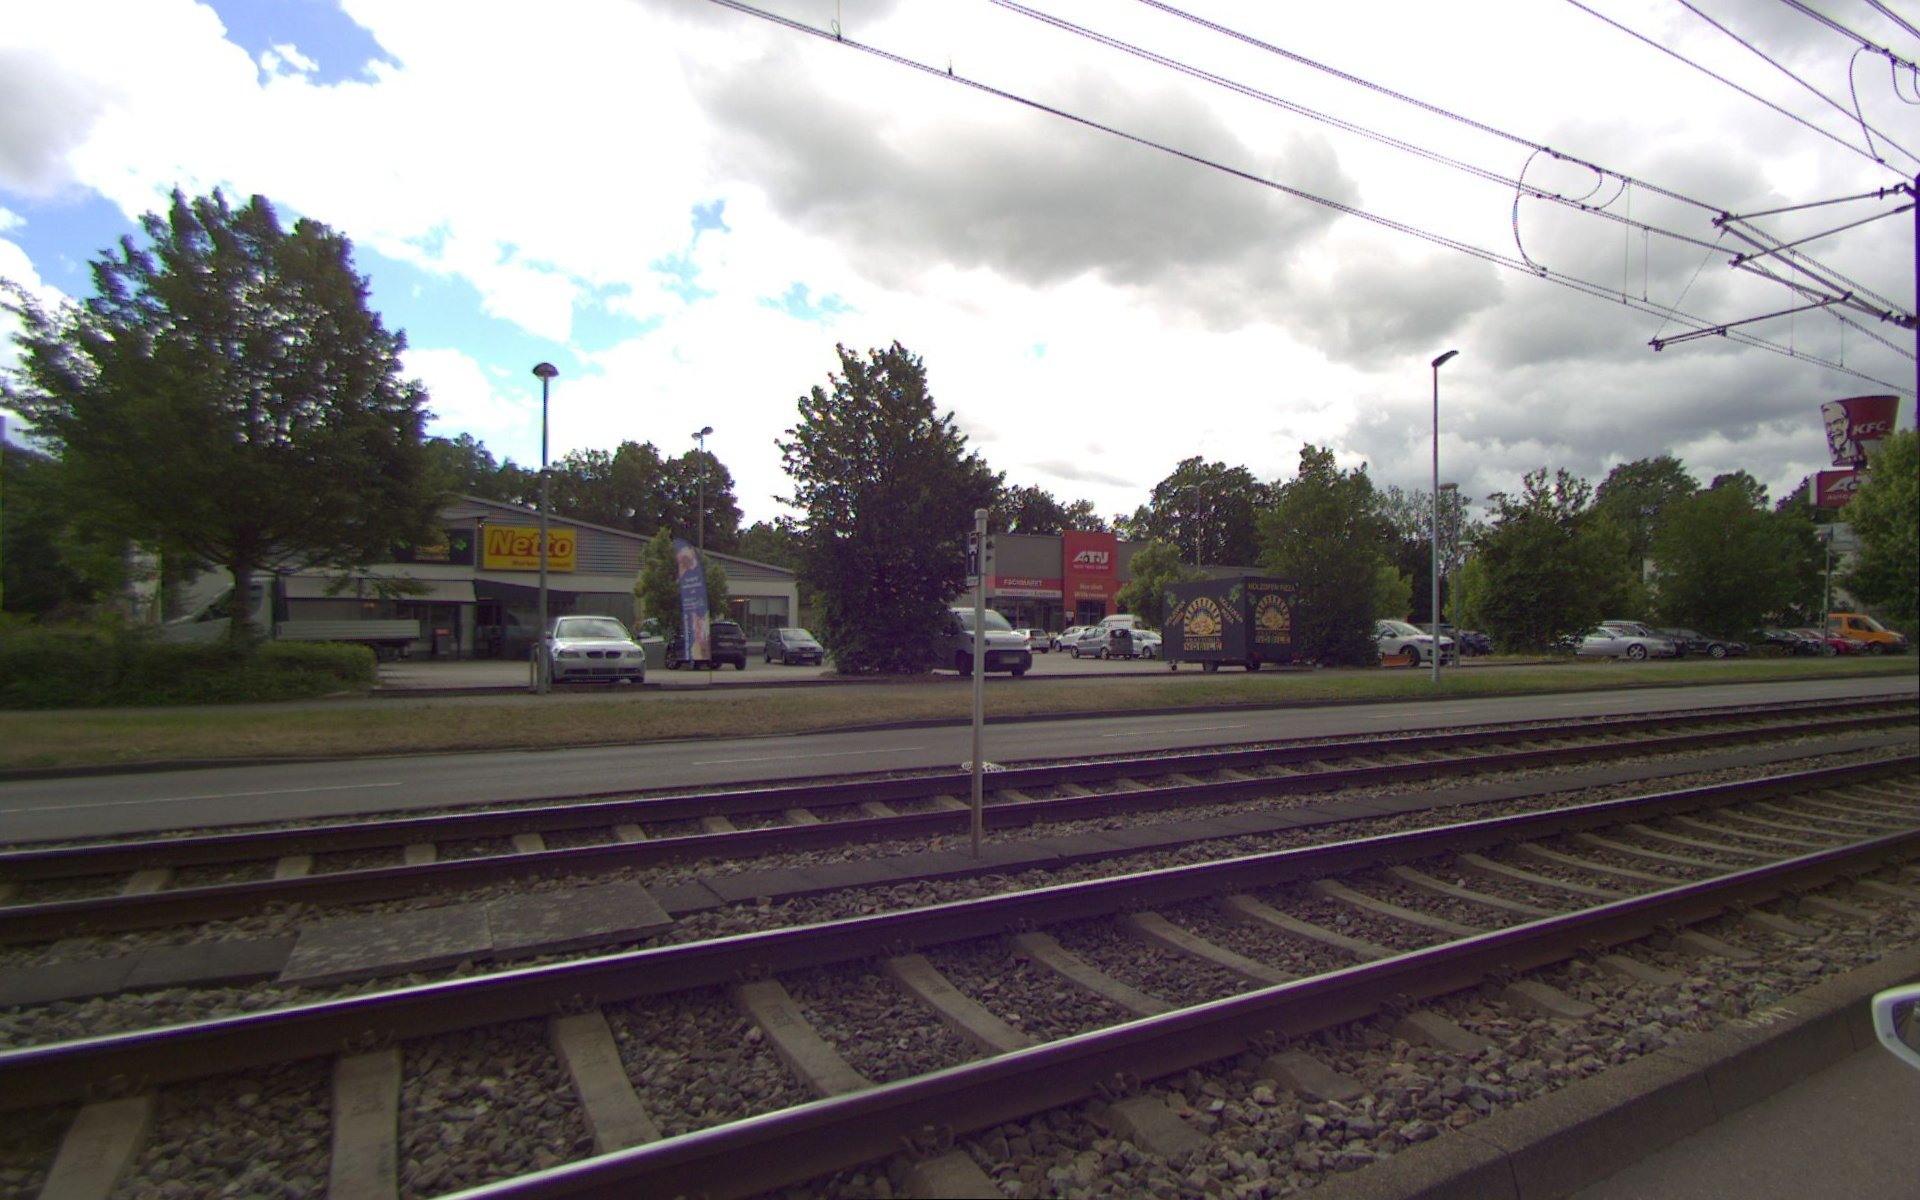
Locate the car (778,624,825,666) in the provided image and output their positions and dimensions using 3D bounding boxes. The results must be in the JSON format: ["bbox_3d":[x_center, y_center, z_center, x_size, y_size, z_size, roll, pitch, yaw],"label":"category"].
[{"bbox_3d":[-6.557,1.833,41.544,1.835,1.617,3.994,0,-2,-9],"label":"car"}]

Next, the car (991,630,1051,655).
[{"bbox_3d":[3.701,2.570,61.315,1.752,1.491,3.717,1,-2,-36],"label":"car"}]

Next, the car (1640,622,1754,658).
[{"bbox_3d":[34.548,1.846,47.172,1.858,1.620,3.963,1,-2,-34],"label":"car"}]

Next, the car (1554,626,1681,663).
[{"bbox_3d":[28.232,1.868,43.253,1.661,1.491,4.284,1,-1,-31],"label":"car"}]

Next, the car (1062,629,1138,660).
[{"bbox_3d":[7.024,2.211,50.675,1.664,1.491,3.716,1,-2,-36],"label":"car"}]

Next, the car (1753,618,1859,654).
[{"bbox_3d":[45.115,1.882,53.625,1.858,1.821,3.963,1,0,-34],"label":"car"}]

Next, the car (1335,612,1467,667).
[{"bbox_3d":[15.670,1.392,35.851,1.858,1.821,3.963,1,-2,-34],"label":"car"}]

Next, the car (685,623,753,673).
[{"bbox_3d":[-8.310,1.599,34.429,1.669,1.617,3.979,1,-2,-22],"label":"car"}]

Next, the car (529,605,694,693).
[{"bbox_3d":[-7.605,0.985,21.567,2.619,1.650,4.762,0,-1,-29],"label":"car"}]

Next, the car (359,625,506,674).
[{"bbox_3d":[-16.692,1.537,31.847,3.961,1.419,1.599,1,0,-36],"label":"car"}]

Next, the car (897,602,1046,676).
[{"bbox_3d":[0.212,1.002,26.063,1.973,1.750,4.199,1,-2,-31],"label":"car"}]

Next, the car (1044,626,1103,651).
[{"bbox_3d":[7.234,2.454,64.177,1.664,1.491,3.716,1,-2,-36],"label":"car"}]

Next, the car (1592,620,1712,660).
[{"bbox_3d":[30.466,1.758,44.300,1.858,1.656,3.963,1,-2,-34],"label":"car"}]

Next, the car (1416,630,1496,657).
[{"bbox_3d":[27.824,2.420,56.424,1.664,1.491,3.716,1,-2,-36],"label":"car"}]

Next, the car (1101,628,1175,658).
[{"bbox_3d":[9.198,2.212,52.090,1.664,1.491,3.716,1,-2,-36],"label":"car"}]

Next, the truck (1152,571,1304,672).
[{"bbox_3d":[8.091,0.678,30.647,2.350,2.859,3.966,1,-2,-32],"label":"truck"}]

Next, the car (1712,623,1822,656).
[{"bbox_3d":[40.822,1.976,50.886,1.858,1.620,3.963,1,-2,-34],"label":"car"}]

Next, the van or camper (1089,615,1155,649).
[{"bbox_3d":[10.438,2.070,65.004,1.803,2.173,4.235,1,-2,-34],"label":"van or camper"}]

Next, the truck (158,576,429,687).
[{"bbox_3d":[-15.711,0.756,24.098,5.202,2.414,1.984,1,-2,-30],"label":"truck"}]

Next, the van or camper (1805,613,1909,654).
[{"bbox_3d":[49.778,1.821,55.799,1.858,2.163,3.962,1,0,-34],"label":"van or camper"}]

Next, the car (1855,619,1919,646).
[{"bbox_3d":[56.947,1.958,60.698,1.778,1.620,3.963,1,-2,-34],"label":"car"}]
